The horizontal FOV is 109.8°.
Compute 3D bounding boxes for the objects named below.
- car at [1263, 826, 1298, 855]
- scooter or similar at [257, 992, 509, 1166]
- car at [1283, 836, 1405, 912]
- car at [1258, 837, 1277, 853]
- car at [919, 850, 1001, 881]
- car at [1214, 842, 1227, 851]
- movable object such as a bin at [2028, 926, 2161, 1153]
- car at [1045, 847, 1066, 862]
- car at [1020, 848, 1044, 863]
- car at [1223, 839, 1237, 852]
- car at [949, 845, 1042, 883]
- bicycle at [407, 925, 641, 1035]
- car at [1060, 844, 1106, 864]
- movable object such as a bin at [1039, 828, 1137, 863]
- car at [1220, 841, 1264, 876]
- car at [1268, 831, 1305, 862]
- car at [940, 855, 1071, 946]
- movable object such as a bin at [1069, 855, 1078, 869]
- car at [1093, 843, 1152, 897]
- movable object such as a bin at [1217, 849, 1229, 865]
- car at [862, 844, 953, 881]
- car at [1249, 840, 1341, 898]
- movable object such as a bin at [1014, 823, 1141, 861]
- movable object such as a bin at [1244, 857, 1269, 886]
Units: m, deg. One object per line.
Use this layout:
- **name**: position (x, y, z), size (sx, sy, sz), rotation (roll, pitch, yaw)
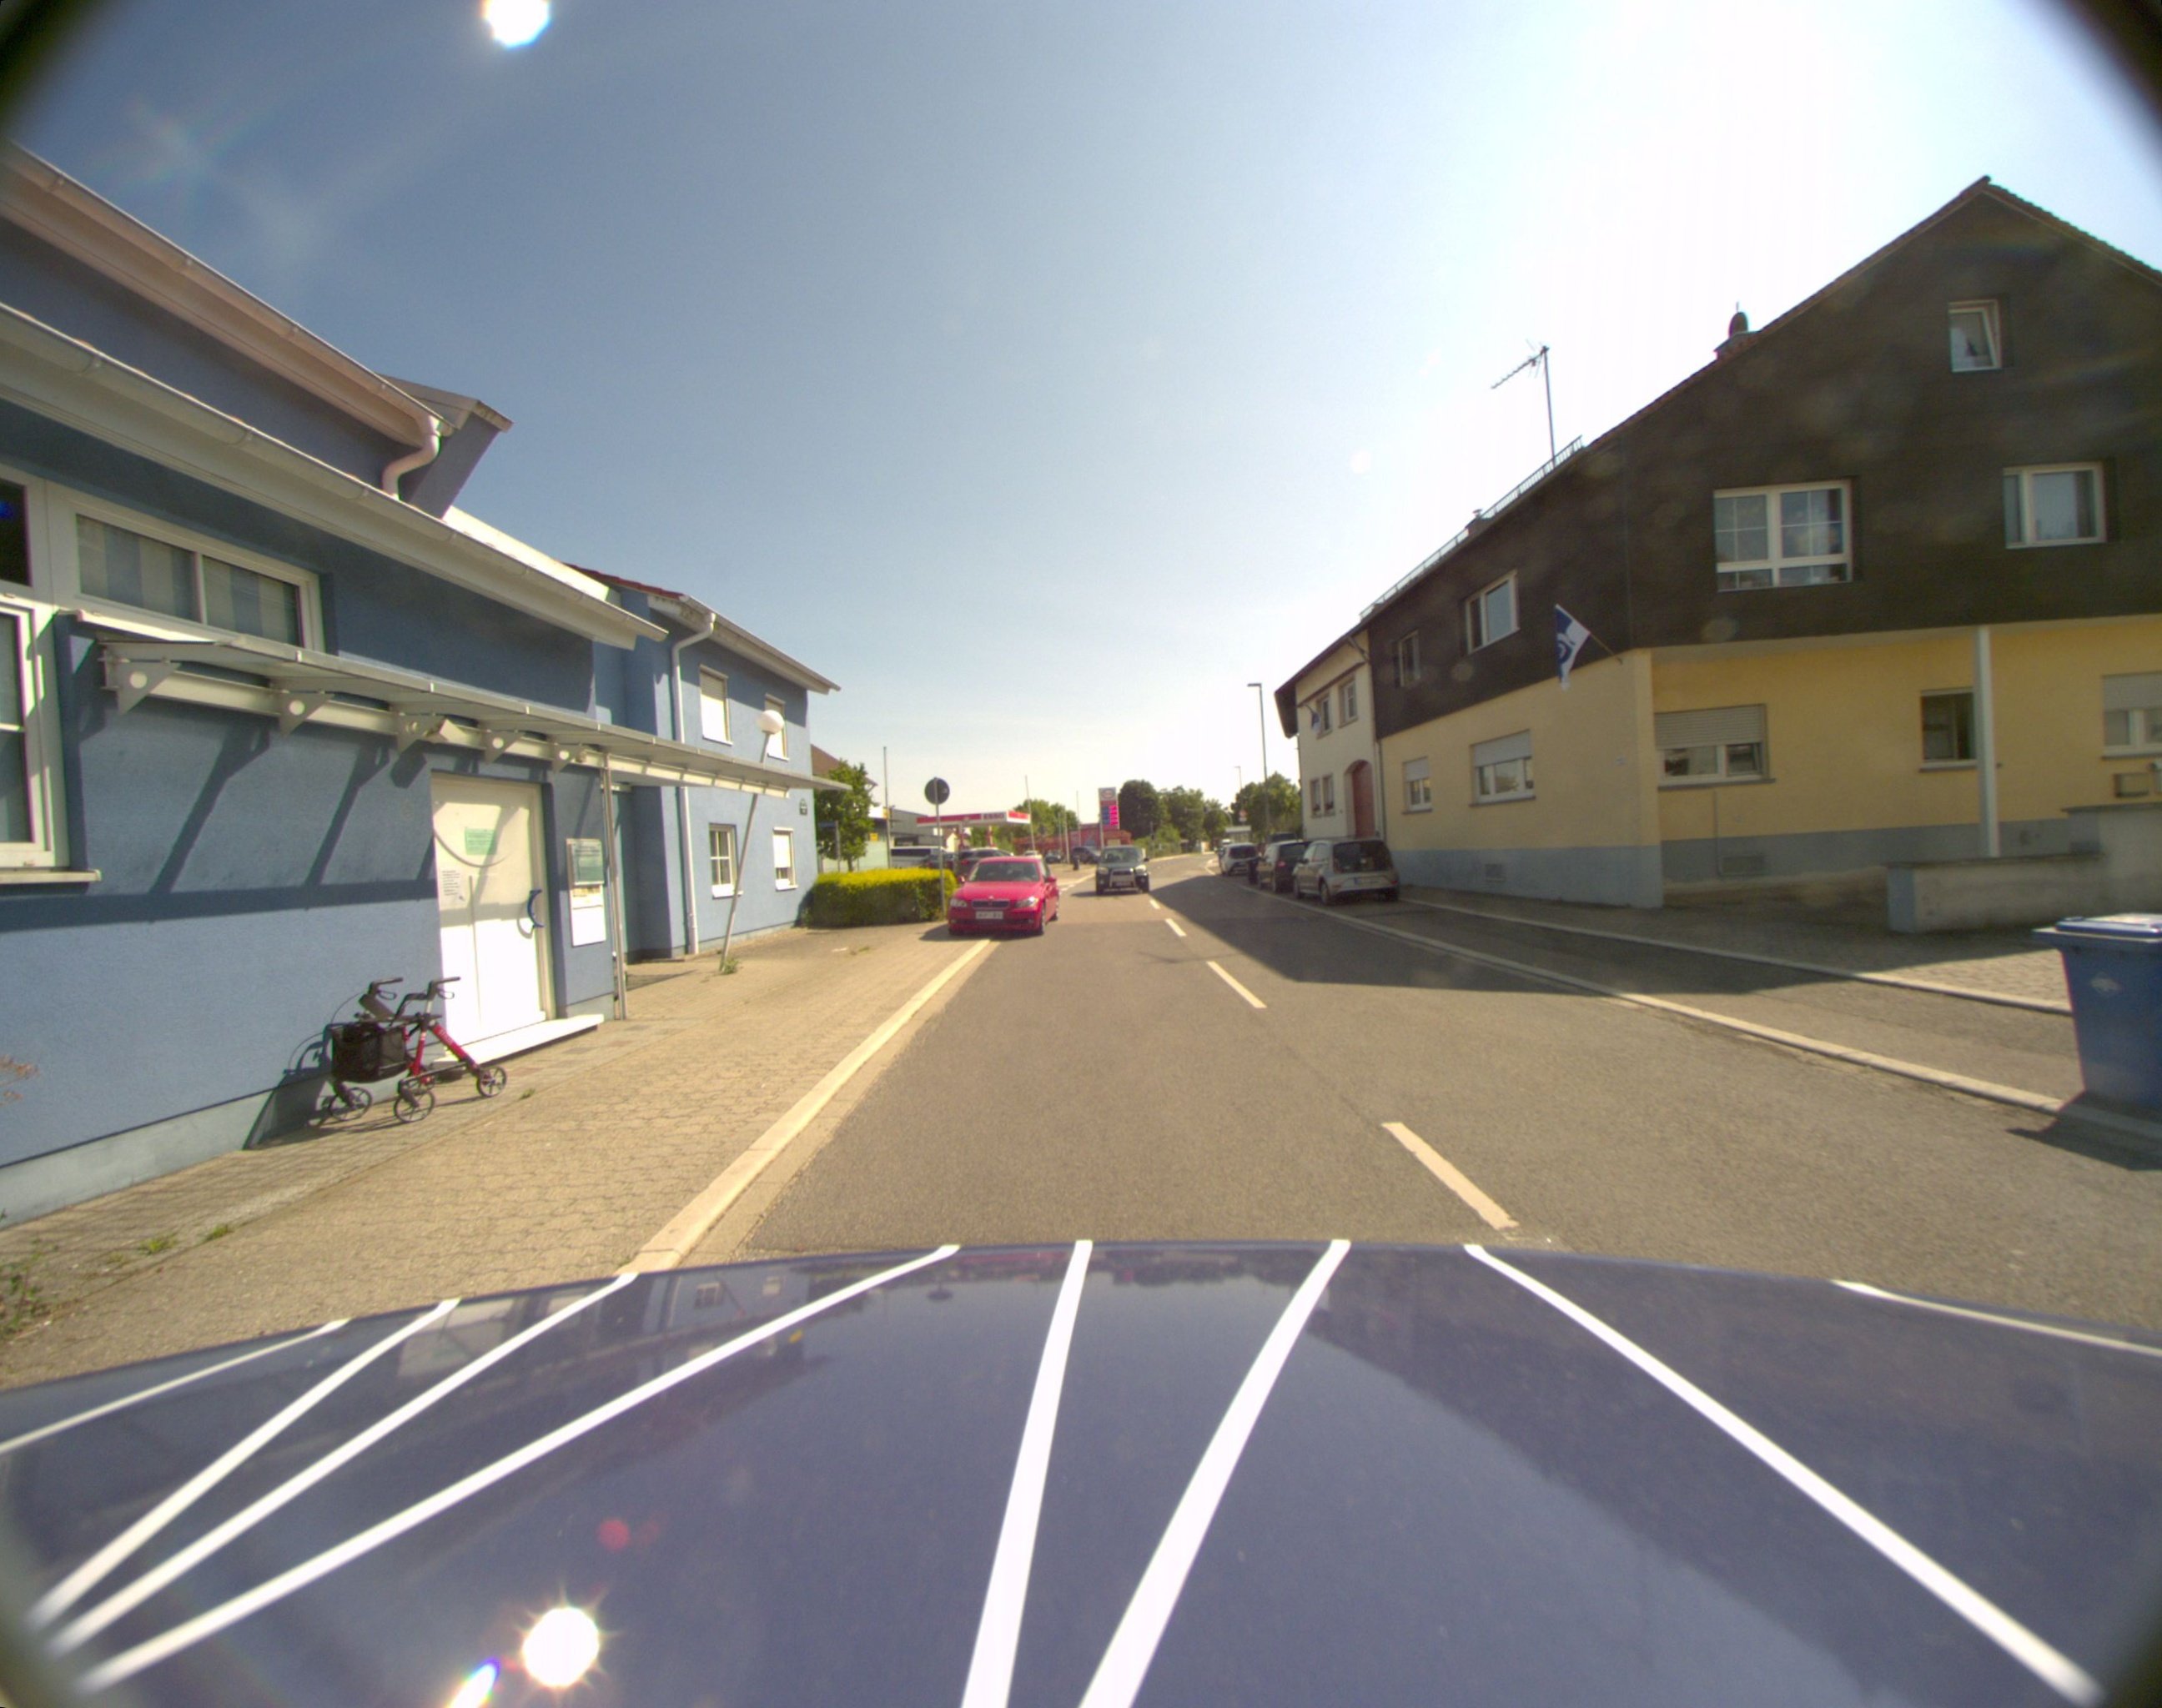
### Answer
- **car**: position (16.256, -1.128, 62.197), size (2.130, 1.975, 5.268), rotation (-8, 0, 11)
- **scooter or similar**: position (-4.259, 1.351, 4.706), size (0.729, 0.810, 0.827), rotation (-3, 1, 5)
- **car**: position (6.127, 0.403, 18.150), size (1.644, 1.492, 3.781), rotation (-5, 1, 3)
- **car**: position (19.202, -0.905, 78.299), size (1.717, 1.444, 3.918), rotation (-4, -1, 13)
- **car**: position (-7.104, 0.649, 44.632), size (4.322, 1.541, 1.980), rotation (-3, 1, -25)
- **car**: position (25.632, -1.406, 139.645), size (1.843, 1.583, 4.110), rotation (-3, 1, 18)
- **movable object such as a bin**: position (5.321, 0.891, 3.747), size (0.598, 0.976, 0.531), rotation (-5, 1, -1)
- **car**: position (-2.960, -0.009, 88.842), size (1.845, 1.583, 4.107), rotation (-3, 1, 5)
- **car**: position (-5.733, 0.120, 89.526), size (2.003, 1.583, 4.339), rotation (-3, 1, 5)
- **car**: position (29.434, -1.714, 150.273), size (1.936, 2.488, 5.844), rotation (-3, 1, 18)
- **car**: position (-4.204, 0.464, 37.526), size (4.119, 1.644, 1.827), rotation (-3, 1, -26)
- **bicycle**: position (-5.808, 1.303, 7.986), size (1.959, 0.975, 0.657), rotation (-3, 1, 3)
- **car**: position (0.153, 0.029, 68.011), size (1.778, 1.546, 4.171), rotation (-4, 1, -40)
- **movable object such as a bin**: position (1.014, -1.187, 107.081), size (13.276, 4.141, 2.865), rotation (-3, 1, 11)
- **car**: position (7.512, 0.180, 35.766), size (1.687, 1.453, 3.650), rotation (-4, 1, 8)
- **car**: position (13.334, -0.531, 49.205), size (1.839, 1.782, 4.348), rotation (-6, 0, 20)
- **car**: position (-1.356, 0.824, 15.372), size (1.736, 1.486, 4.356), rotation (-2, 1, 6)
- **movable object such as a bin**: position (-0.490, 0.556, 51.463), size (0.559, 0.931, 0.514), rotation (-3, 1, 1)
- **car**: position (1.498, 0.525, 26.786), size (1.848, 1.686, 4.399), rotation (-2, 0, 4)
- **movable object such as a bin**: position (9.059, 0.202, 48.503), size (0.559, 0.931, 0.514), rotation (-5, 1, 1)
- **car**: position (-10.767, 0.492, 47.212), size (5.288, 2.002, 2.229), rotation (-3, 1, -15)
- **car**: position (6.342, 0.374, 22.945), size (1.682, 1.429, 3.996), rotation (-6, 1, 3)
- **movable object such as a bin**: position (-0.493, -1.493, 98.864), size (16.079, 3.995, 2.775), rotation (-3, 1, 11)
- **movable object such as a bin**: position (6.166, 0.611, 26.722), size (0.553, 0.923, 0.825), rotation (-8, 1, -3)
